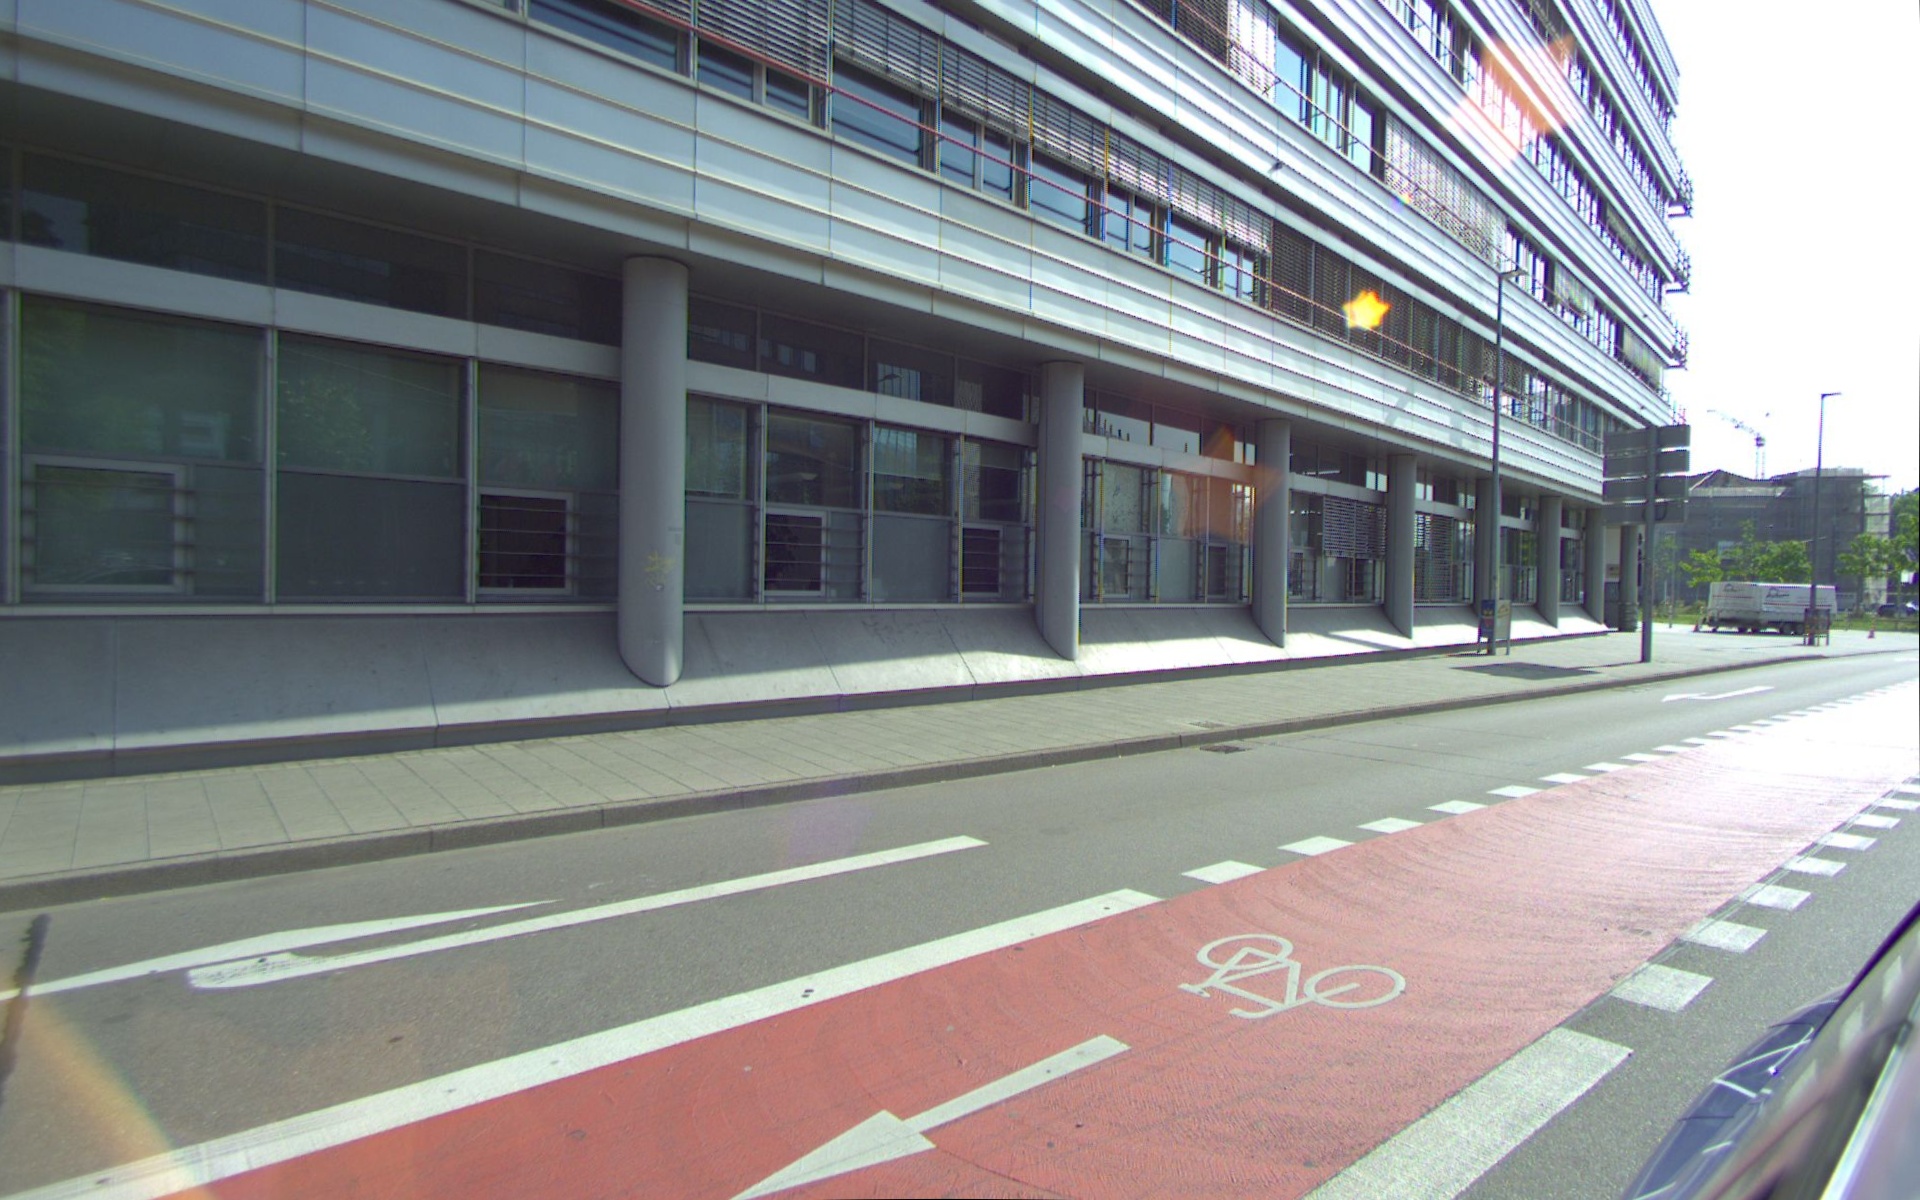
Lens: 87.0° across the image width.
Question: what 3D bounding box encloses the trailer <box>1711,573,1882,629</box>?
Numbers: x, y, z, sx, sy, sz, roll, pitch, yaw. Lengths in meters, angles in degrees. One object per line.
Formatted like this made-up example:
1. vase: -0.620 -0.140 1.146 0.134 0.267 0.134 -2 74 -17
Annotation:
1. trailer: 35.253 0.026 42.703 5.825 2.178 2.402 1 1 -12
